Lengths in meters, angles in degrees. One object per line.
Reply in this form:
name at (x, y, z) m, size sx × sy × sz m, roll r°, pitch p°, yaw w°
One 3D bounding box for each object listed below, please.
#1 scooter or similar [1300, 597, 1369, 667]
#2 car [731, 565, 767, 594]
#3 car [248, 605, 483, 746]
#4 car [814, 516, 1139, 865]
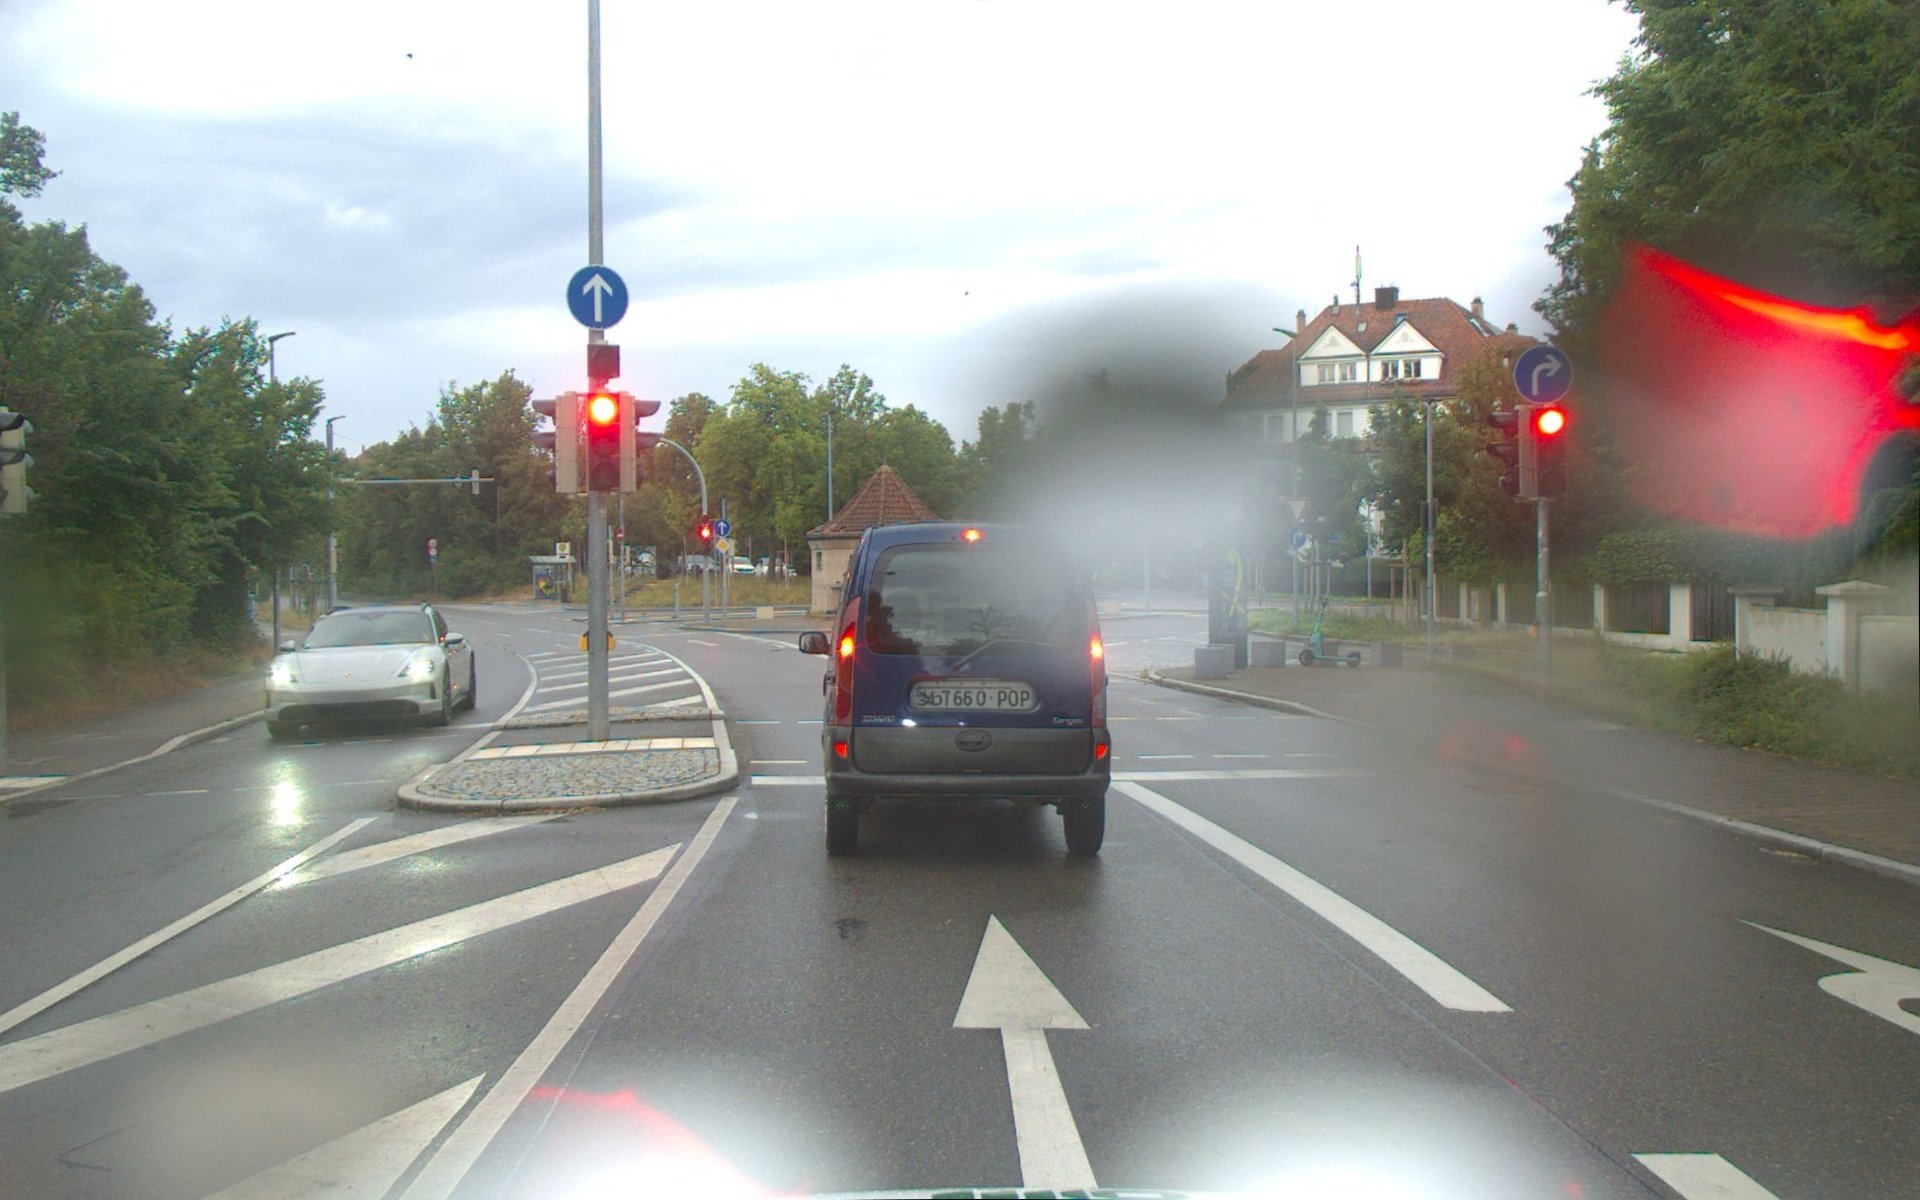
scooter or similar at (6.719, 0.571, 29.704) m, size 1.125 × 1.240 × 0.405 m, roll 0°, pitch -1°, yaw -2°
car at (-14.194, -1.368, 111.428) m, size 1.953 × 1.844 × 3.999 m, roll 0°, pitch -1°, yaw -1°
car at (-7.015, 0.815, 19.983) m, size 1.958 × 1.334 × 4.348 m, roll -3°, pitch 1°, yaw -11°
car at (-0.004, 0.455, 10.662) m, size 1.697 × 1.817 × 3.998 m, roll 0°, pitch 1°, yaw -3°
